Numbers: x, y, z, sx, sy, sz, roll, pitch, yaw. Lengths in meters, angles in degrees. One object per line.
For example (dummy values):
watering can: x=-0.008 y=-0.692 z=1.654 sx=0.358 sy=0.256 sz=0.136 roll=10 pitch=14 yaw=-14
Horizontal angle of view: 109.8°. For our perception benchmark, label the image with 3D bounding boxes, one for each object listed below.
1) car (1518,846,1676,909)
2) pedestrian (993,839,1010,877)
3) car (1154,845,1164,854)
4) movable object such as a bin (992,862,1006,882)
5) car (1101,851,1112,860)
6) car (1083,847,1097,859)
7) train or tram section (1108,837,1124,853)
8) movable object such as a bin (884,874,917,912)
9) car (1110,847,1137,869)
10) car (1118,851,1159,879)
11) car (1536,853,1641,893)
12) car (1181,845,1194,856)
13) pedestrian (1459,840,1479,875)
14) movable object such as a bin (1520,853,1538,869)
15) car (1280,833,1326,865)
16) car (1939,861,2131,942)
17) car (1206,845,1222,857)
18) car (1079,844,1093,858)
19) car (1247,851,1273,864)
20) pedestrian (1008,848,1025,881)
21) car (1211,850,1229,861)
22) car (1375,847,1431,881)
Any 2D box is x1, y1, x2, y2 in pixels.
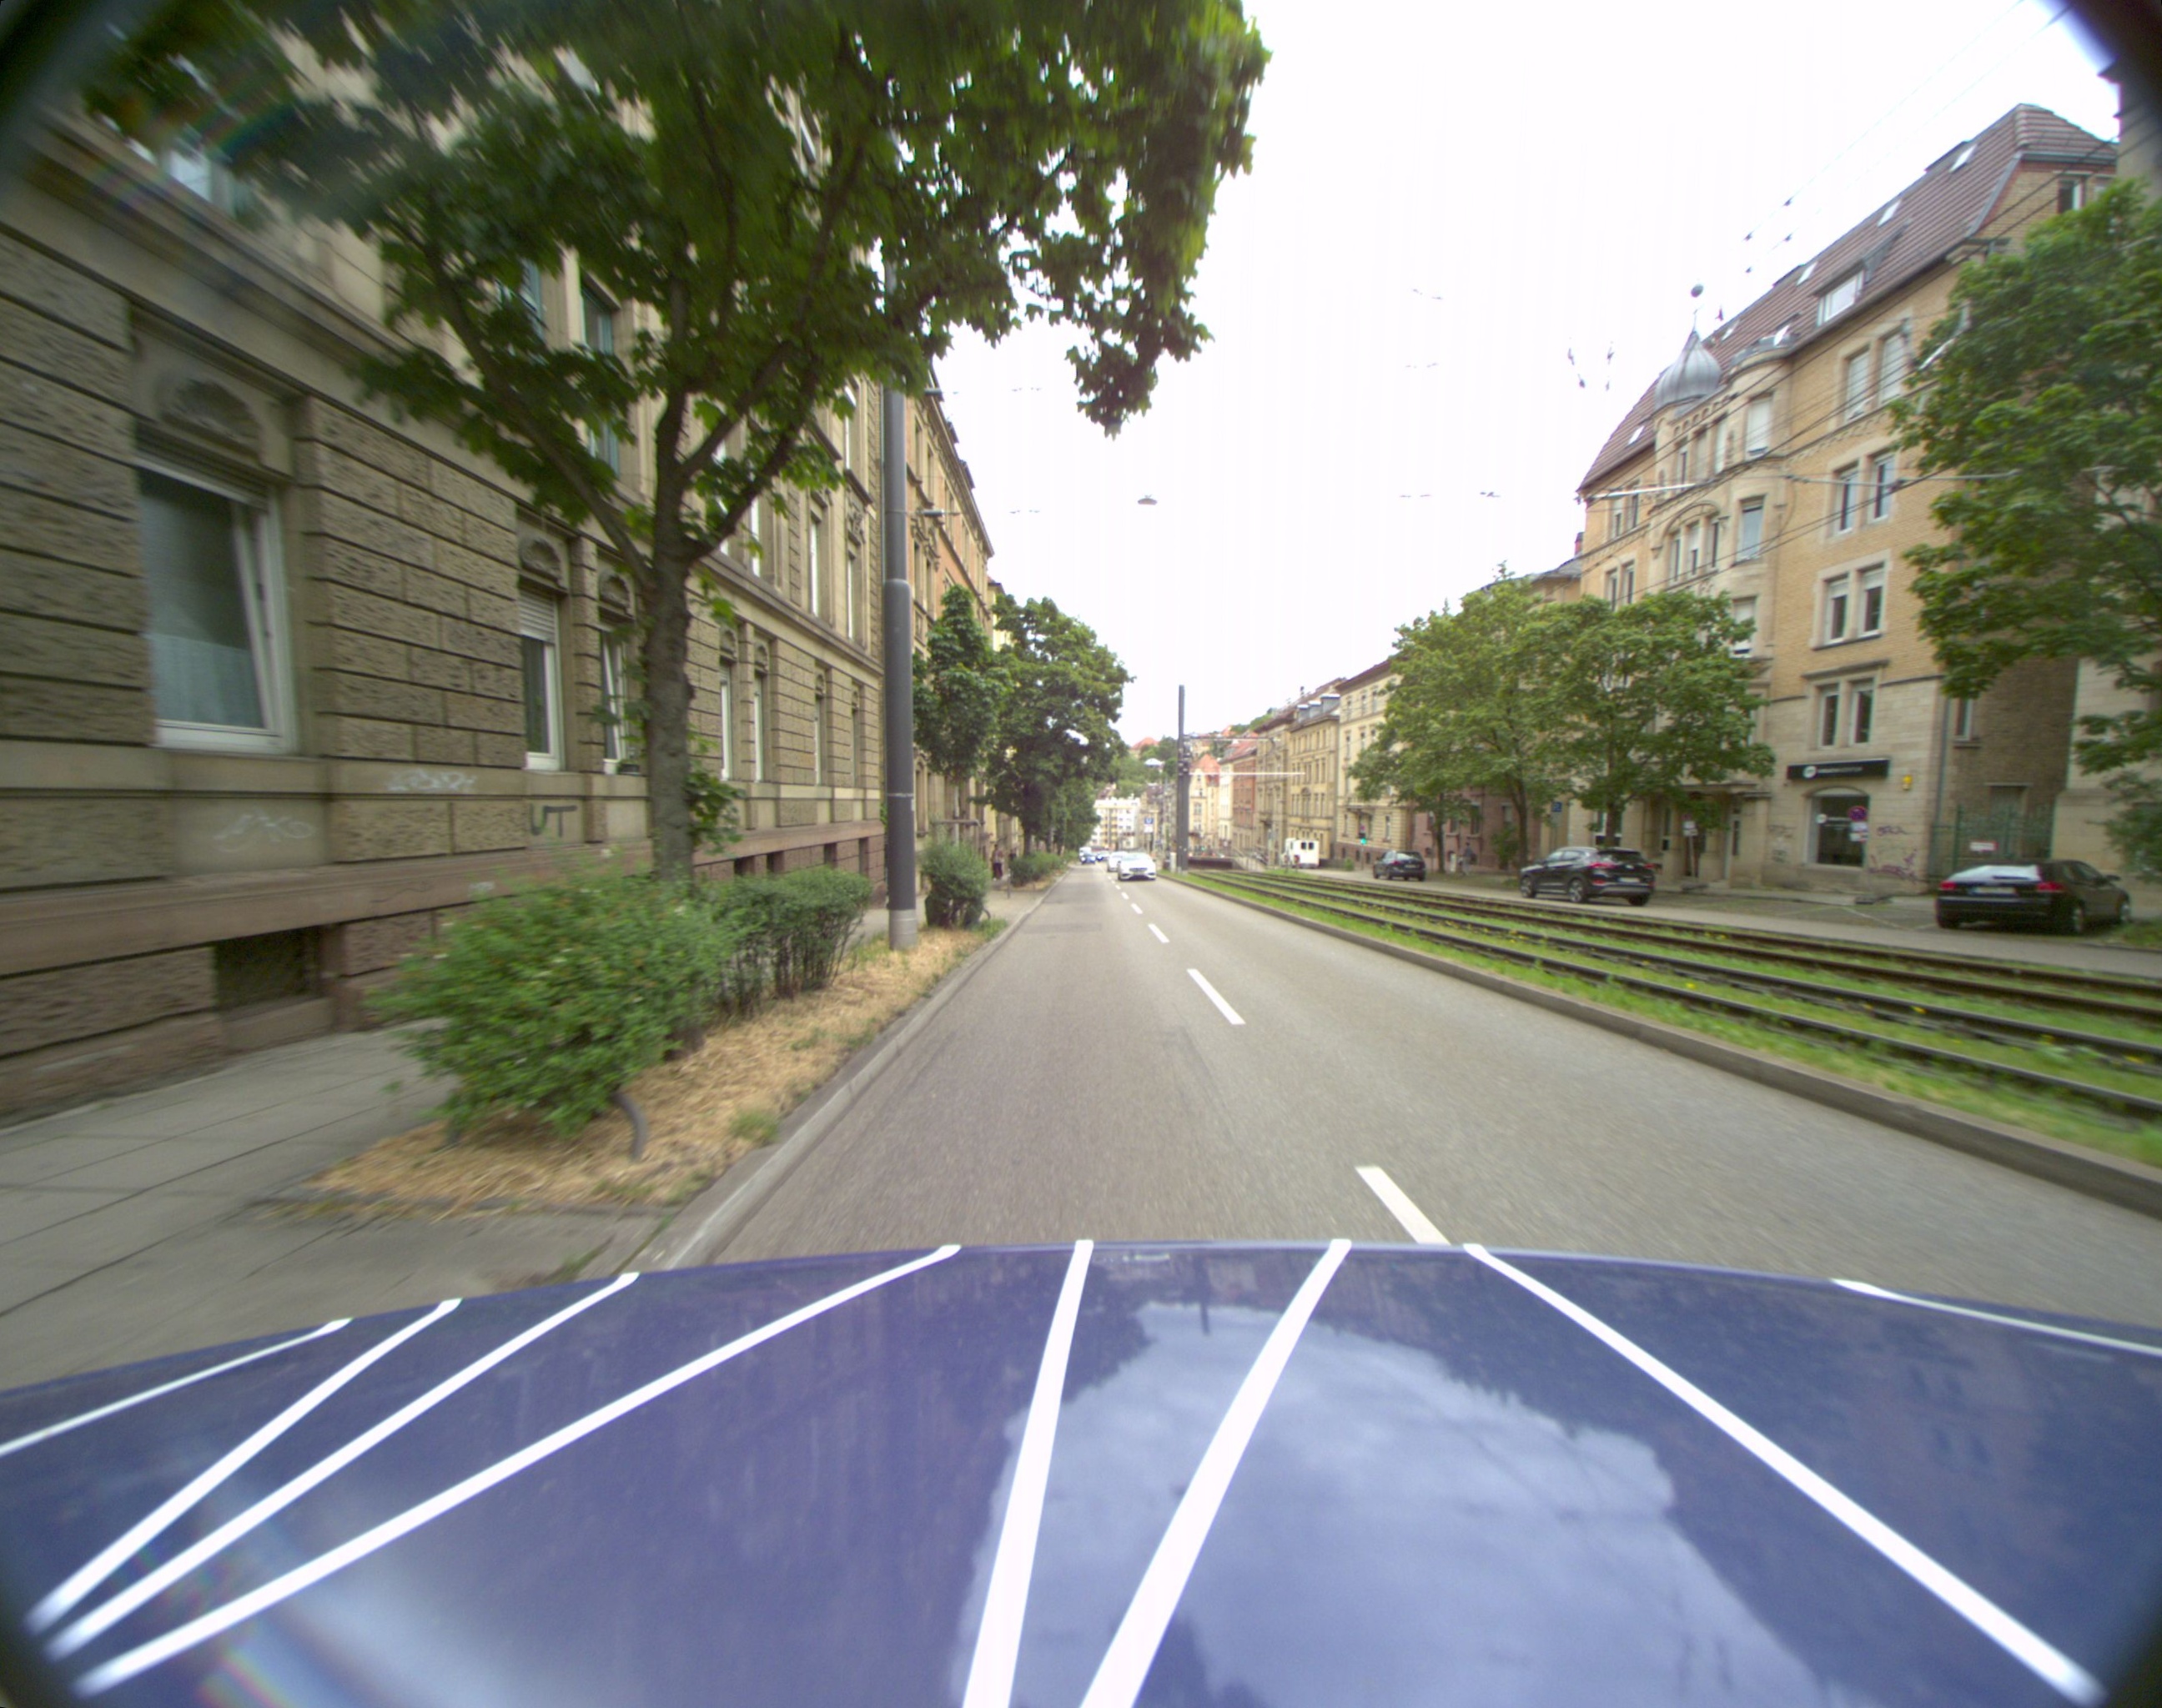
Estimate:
car: x=15.088 y=0.606 z=22.542 sx=1.784 sy=1.647 sz=4.242 roll=1 pitch=1 yaw=1
pedestrian: x=-3.906 y=0.188 z=37.450 sx=0.687 sy=1.820 sz=1.121 roll=2 pitch=3 yaw=1
car: x=20.210 y=-1.200 z=197.010 sx=1.998 sy=2.291 sz=5.455 roll=0 pitch=0 yaw=1
movable object such as a bin: x=-4.261 y=0.931 z=39.445 sx=0.672 sy=1.010 sz=0.582 roll=2 pitch=-1 yaw=-2
car: x=3.690 y=0.261 z=110.775 sx=1.562 sy=1.330 sz=4.000 roll=0 pitch=0 yaw=1
car: x=1.136 y=-0.164 z=93.854 sx=1.694 sy=1.466 sz=3.857 roll=0 pitch=0 yaw=1
train or tram section: x=8.088 y=-1.974 z=177.084 sx=2.968 sy=3.456 sz=14.407 roll=0 pitch=0 yaw=-1
movable object such as a bin: x=-4.452 y=0.952 z=18.760 sx=0.672 sy=0.892 sz=0.582 roll=2 pitch=-1 yaw=-2
car: x=3.174 y=0.281 z=57.241 sx=1.806 sy=1.542 sz=4.000 roll=-1 pitch=0 yaw=0
car: x=2.944 y=0.553 z=39.409 sx=1.806 sy=1.391 sz=4.000 roll=-1 pitch=0 yaw=0
car: x=19.433 y=0.686 z=29.081 sx=4.006 sy=1.414 sz=1.781 roll=-1 pitch=1 yaw=-31
car: x=18.362 y=-0.618 z=130.750 sx=1.713 sy=1.725 sz=4.576 roll=0 pitch=0 yaw=1
pedestrian: x=22.338 y=0.203 z=43.737 sx=0.722 sy=2.002 sz=0.797 roll=0 pitch=0 yaw=-1
movable object such as a bin: x=23.242 y=0.345 z=39.422 sx=0.584 sy=0.831 sz=0.629 roll=0 pitch=1 yaw=1
car: x=20.103 y=-0.429 z=69.151 sx=2.398 sy=2.684 sz=6.519 roll=2 pitch=1 yaw=3
car: x=19.110 y=0.862 z=15.187 sx=4.190 sy=1.356 sz=1.708 roll=-1 pitch=1 yaw=-29
car: x=21.420 y=-0.450 z=122.448 sx=1.853 sy=1.849 sz=4.139 roll=0 pitch=0 yaw=2
car: x=0.860 y=-0.485 z=129.120 sx=2.263 sy=2.274 sz=5.967 roll=-1 pitch=0 yaw=0
car: x=20.100 y=0.373 z=85.419 sx=1.753 sy=1.420 sz=4.747 roll=1 pitch=0 yaw=-1
pedestrian: x=-3.192 y=0.509 z=37.459 sx=0.687 sy=1.566 sz=1.216 roll=2 pitch=3 yaw=1
car: x=17.373 y=0.174 z=95.031 sx=1.580 sy=1.369 sz=3.654 roll=0 pitch=0 yaw=0
car: x=16.941 y=0.499 z=40.140 sx=1.883 sy=1.640 sz=4.475 roll=2 pitch=0 yaw=13
